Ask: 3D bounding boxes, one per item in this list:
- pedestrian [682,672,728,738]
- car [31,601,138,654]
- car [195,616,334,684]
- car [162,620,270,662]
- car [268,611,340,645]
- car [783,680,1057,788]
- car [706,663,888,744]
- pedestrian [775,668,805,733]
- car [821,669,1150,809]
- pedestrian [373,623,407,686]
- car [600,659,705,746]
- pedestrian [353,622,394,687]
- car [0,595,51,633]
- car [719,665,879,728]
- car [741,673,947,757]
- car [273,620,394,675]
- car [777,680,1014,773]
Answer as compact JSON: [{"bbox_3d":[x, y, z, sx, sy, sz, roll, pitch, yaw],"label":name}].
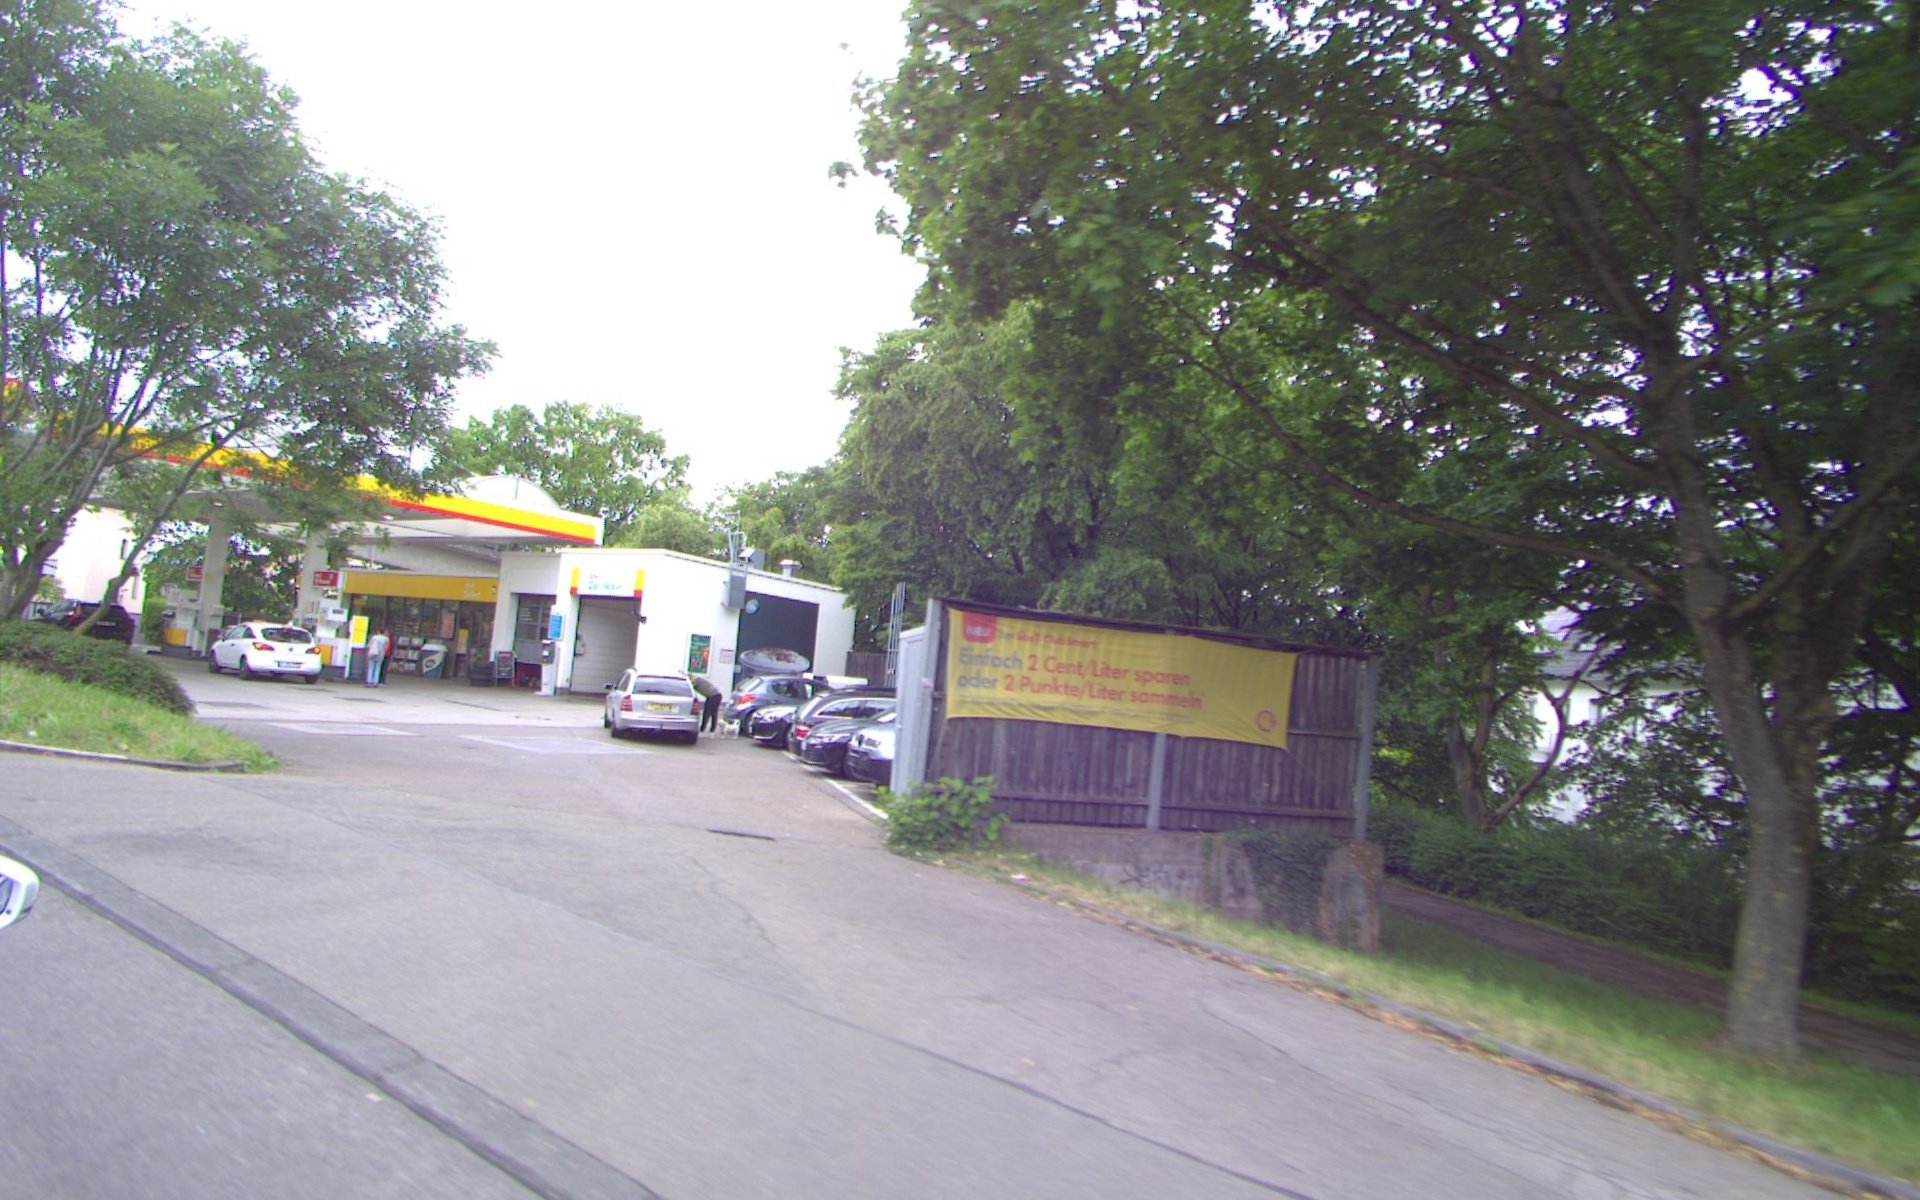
[{"bbox_3d":[-5.613,2.304,22.135,0.731,1.326,0.699,8,-3,-24],"label":"pedestrian"},{"bbox_3d":[-29.273,0.905,33.614,3.819,1.502,1.737,2,-5,35],"label":"car"},{"bbox_3d":[-18.539,1.307,26.766,3.819,1.502,1.737,2,-5,35],"label":"car"},{"bbox_3d":[-32.355,1.782,43.782,3.600,1.474,1.642,8,-5,-39],"label":"car"},{"bbox_3d":[-38.354,1.655,58.897,1.572,1.360,3.601,7,-8,3],"label":"car"},{"bbox_3d":[-0.685,2.236,16.881,4.229,1.441,1.732,6,-5,-18],"label":"car"},{"bbox_3d":[-3.909,2.477,24.067,4.037,1.537,1.625,6,-3,-17],"label":"car"},{"bbox_3d":[-4.251,2.506,25.184,0.426,1.553,0.468,11,-6,-18],"label":"pedestrian"},{"bbox_3d":[0.358,1.953,14.196,4.232,1.607,1.731,6,-5,-20],"label":"car"},{"bbox_3d":[-16.239,1.551,28.662,0.424,1.723,0.493,6,-2,24],"label":"pedestrian"},{"bbox_3d":[-6.637,2.112,21.435,1.580,1.448,4.276,6,-4,-23],"label":"car"},{"bbox_3d":[-16.215,1.512,27.820,0.599,1.723,0.544,6,-2,28],"label":"pedestrian"},{"bbox_3d":[-45.981,0.442,47.378,4.262,1.535,1.615,12,-8,-29],"label":"car"},{"bbox_3d":[-4.543,2.745,28.573,4.065,1.452,1.710,7,-3,-34],"label":"car"},{"bbox_3d":[-2.557,2.501,22.000,4.152,1.452,1.731,5,-3,-17],"label":"car"},{"bbox_3d":[-26.504,2.025,42.662,1.716,1.959,3.866,2,-5,38],"label":"car"},{"bbox_3d":[-1.275,2.433,19.467,4.227,1.451,1.733,6,-5,-17],"label":"car"}]
